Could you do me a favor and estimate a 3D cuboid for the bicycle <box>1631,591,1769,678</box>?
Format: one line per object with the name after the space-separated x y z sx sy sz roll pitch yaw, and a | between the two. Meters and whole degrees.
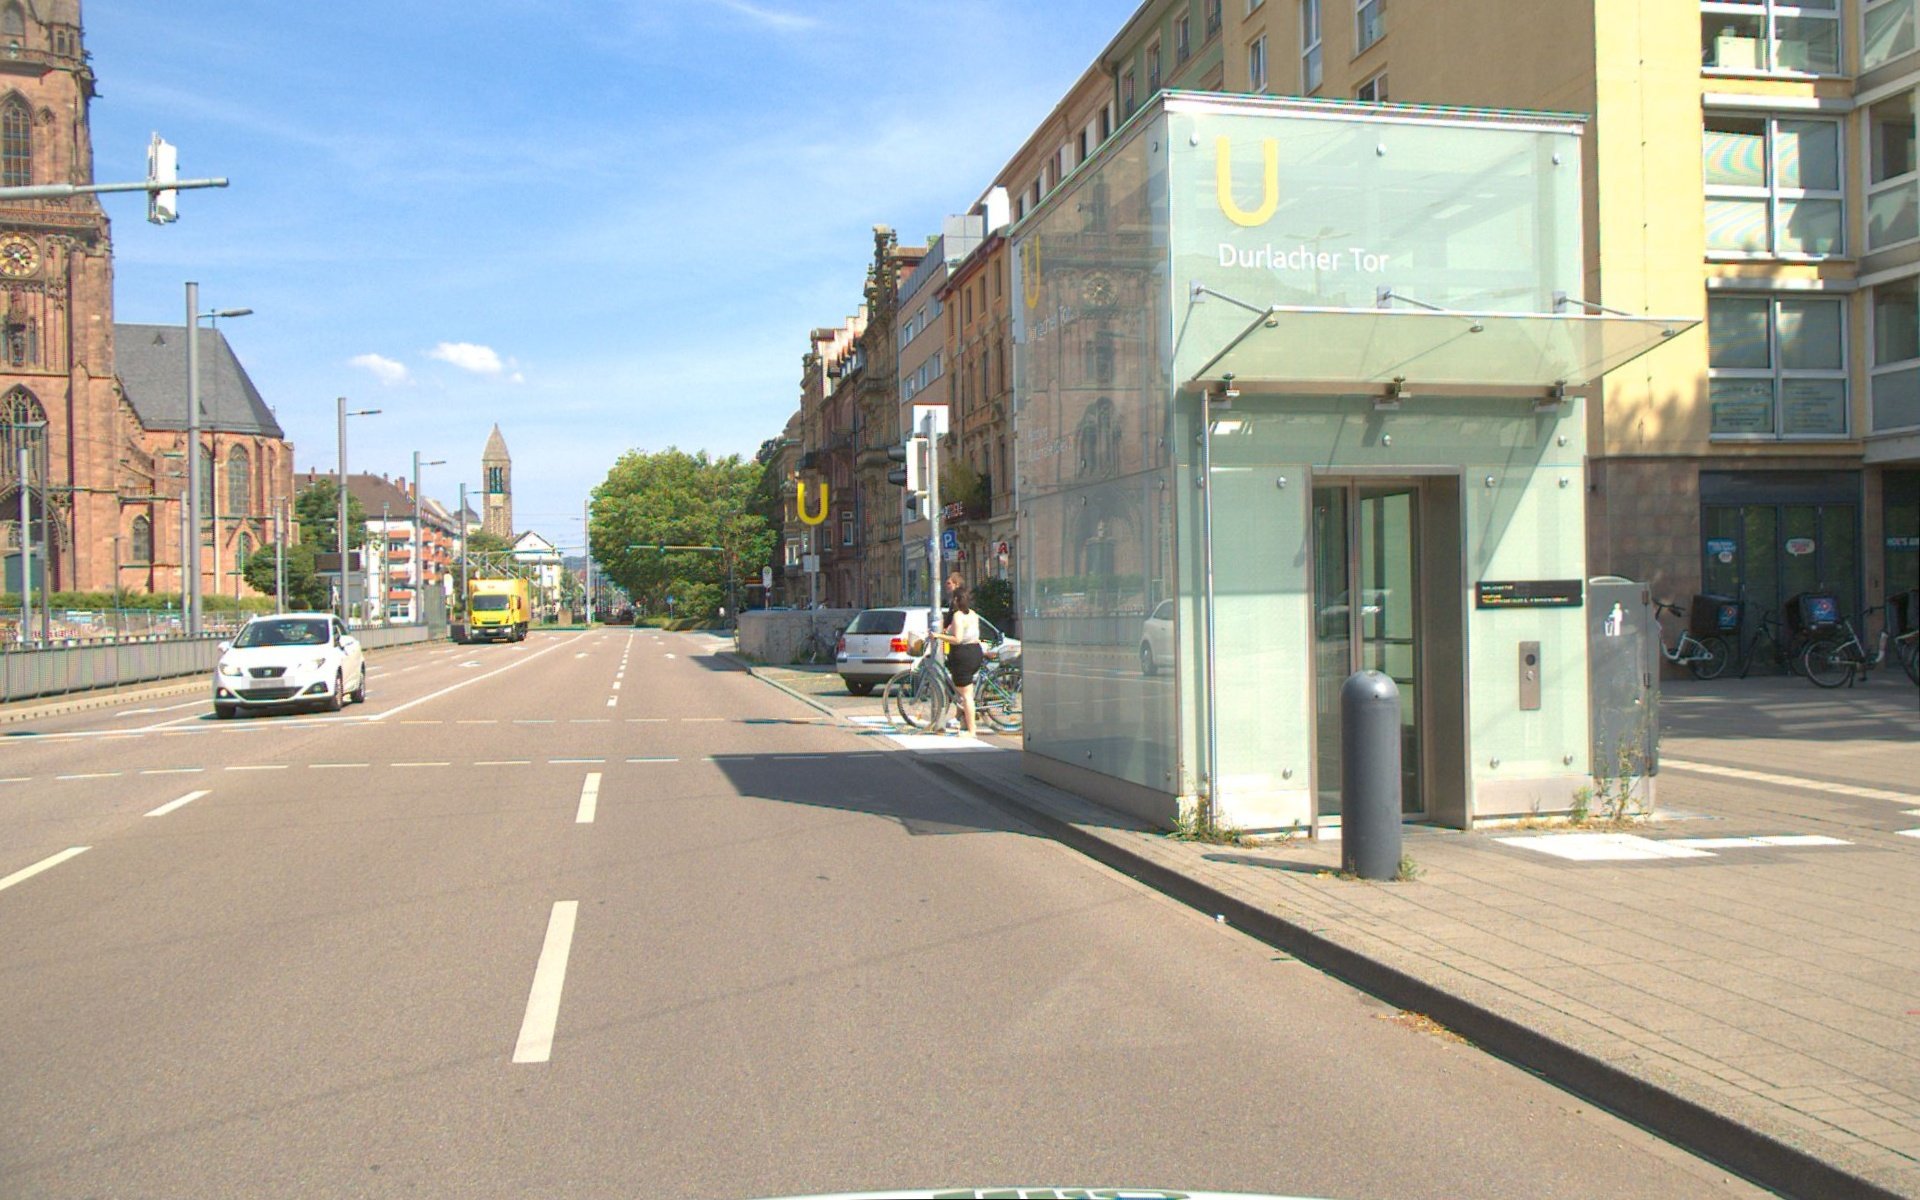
10.892 0.502 24.362 1.849 1.206 0.540 -2 0 -10 | bicycle

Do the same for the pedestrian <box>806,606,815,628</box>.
-10.012 1.133 110.907 0.524 1.431 0.489 -1 2 -18 | pedestrian

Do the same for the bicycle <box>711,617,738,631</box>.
-16.008 1.656 112.478 1.797 0.878 0.479 -1 2 -27 | bicycle

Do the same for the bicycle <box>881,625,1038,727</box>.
-0.011 0.879 19.598 1.763 1.150 0.581 -1 -1 -18 | bicycle

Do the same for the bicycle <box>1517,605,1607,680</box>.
9.078 0.623 25.001 0.571 1.061 1.755 -2 0 -4 | bicycle

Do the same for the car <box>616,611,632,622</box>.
-43.121 2.151 212.494 1.867 1.400 3.802 -1 0 -14 | car

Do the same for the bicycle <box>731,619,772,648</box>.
-7.636 1.211 60.569 1.435 0.993 0.414 -1 2 -12 | bicycle

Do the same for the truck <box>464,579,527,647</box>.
-25.108 0.716 89.755 2.499 3.355 9.001 -4 0 -12 | truck

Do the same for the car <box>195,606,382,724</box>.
-9.868 0.889 24.611 1.724 1.422 4.113 -5 1 -11 | car

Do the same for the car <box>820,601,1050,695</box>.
-0.353 0.791 28.030 1.779 1.465 3.980 0 -1 39 | car

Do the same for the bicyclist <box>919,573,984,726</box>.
-0.099 0.572 19.444 0.606 1.765 0.581 0 -1 -18 | bicyclist

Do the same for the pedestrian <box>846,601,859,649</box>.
-3.770 0.876 58.023 0.364 1.694 0.524 -1 -1 -11 | pedestrian

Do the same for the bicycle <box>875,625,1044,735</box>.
0.009 0.867 18.074 1.753 1.150 0.755 -1 -1 6 | bicycle

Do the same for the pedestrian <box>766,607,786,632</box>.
-9.837 1.041 88.303 0.931 1.348 0.819 -1 0 -14 | pedestrian

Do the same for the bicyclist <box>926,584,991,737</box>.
-0.013 0.639 17.778 0.598 1.600 0.733 -1 -1 6 | bicyclist

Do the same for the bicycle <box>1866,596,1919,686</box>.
12.642 0.497 21.196 1.715 1.105 0.584 -2 0 -1 | bicycle

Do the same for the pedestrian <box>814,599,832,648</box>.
-4.789 0.826 57.977 0.543 1.694 0.524 -1 -1 -11 | pedestrian

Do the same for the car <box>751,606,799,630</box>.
-15.725 1.514 140.197 3.914 1.780 1.996 -1 2 -10 | car

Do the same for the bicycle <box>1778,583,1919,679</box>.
12.073 0.415 22.374 1.715 1.240 0.584 -1 0 -1 | bicycle

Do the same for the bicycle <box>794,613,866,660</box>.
-3.261 0.907 41.477 1.711 1.113 0.595 -1 0 -12 | bicycle

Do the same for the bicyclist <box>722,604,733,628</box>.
-15.824 1.061 112.554 0.631 1.619 0.479 -1 2 -27 | bicyclist
